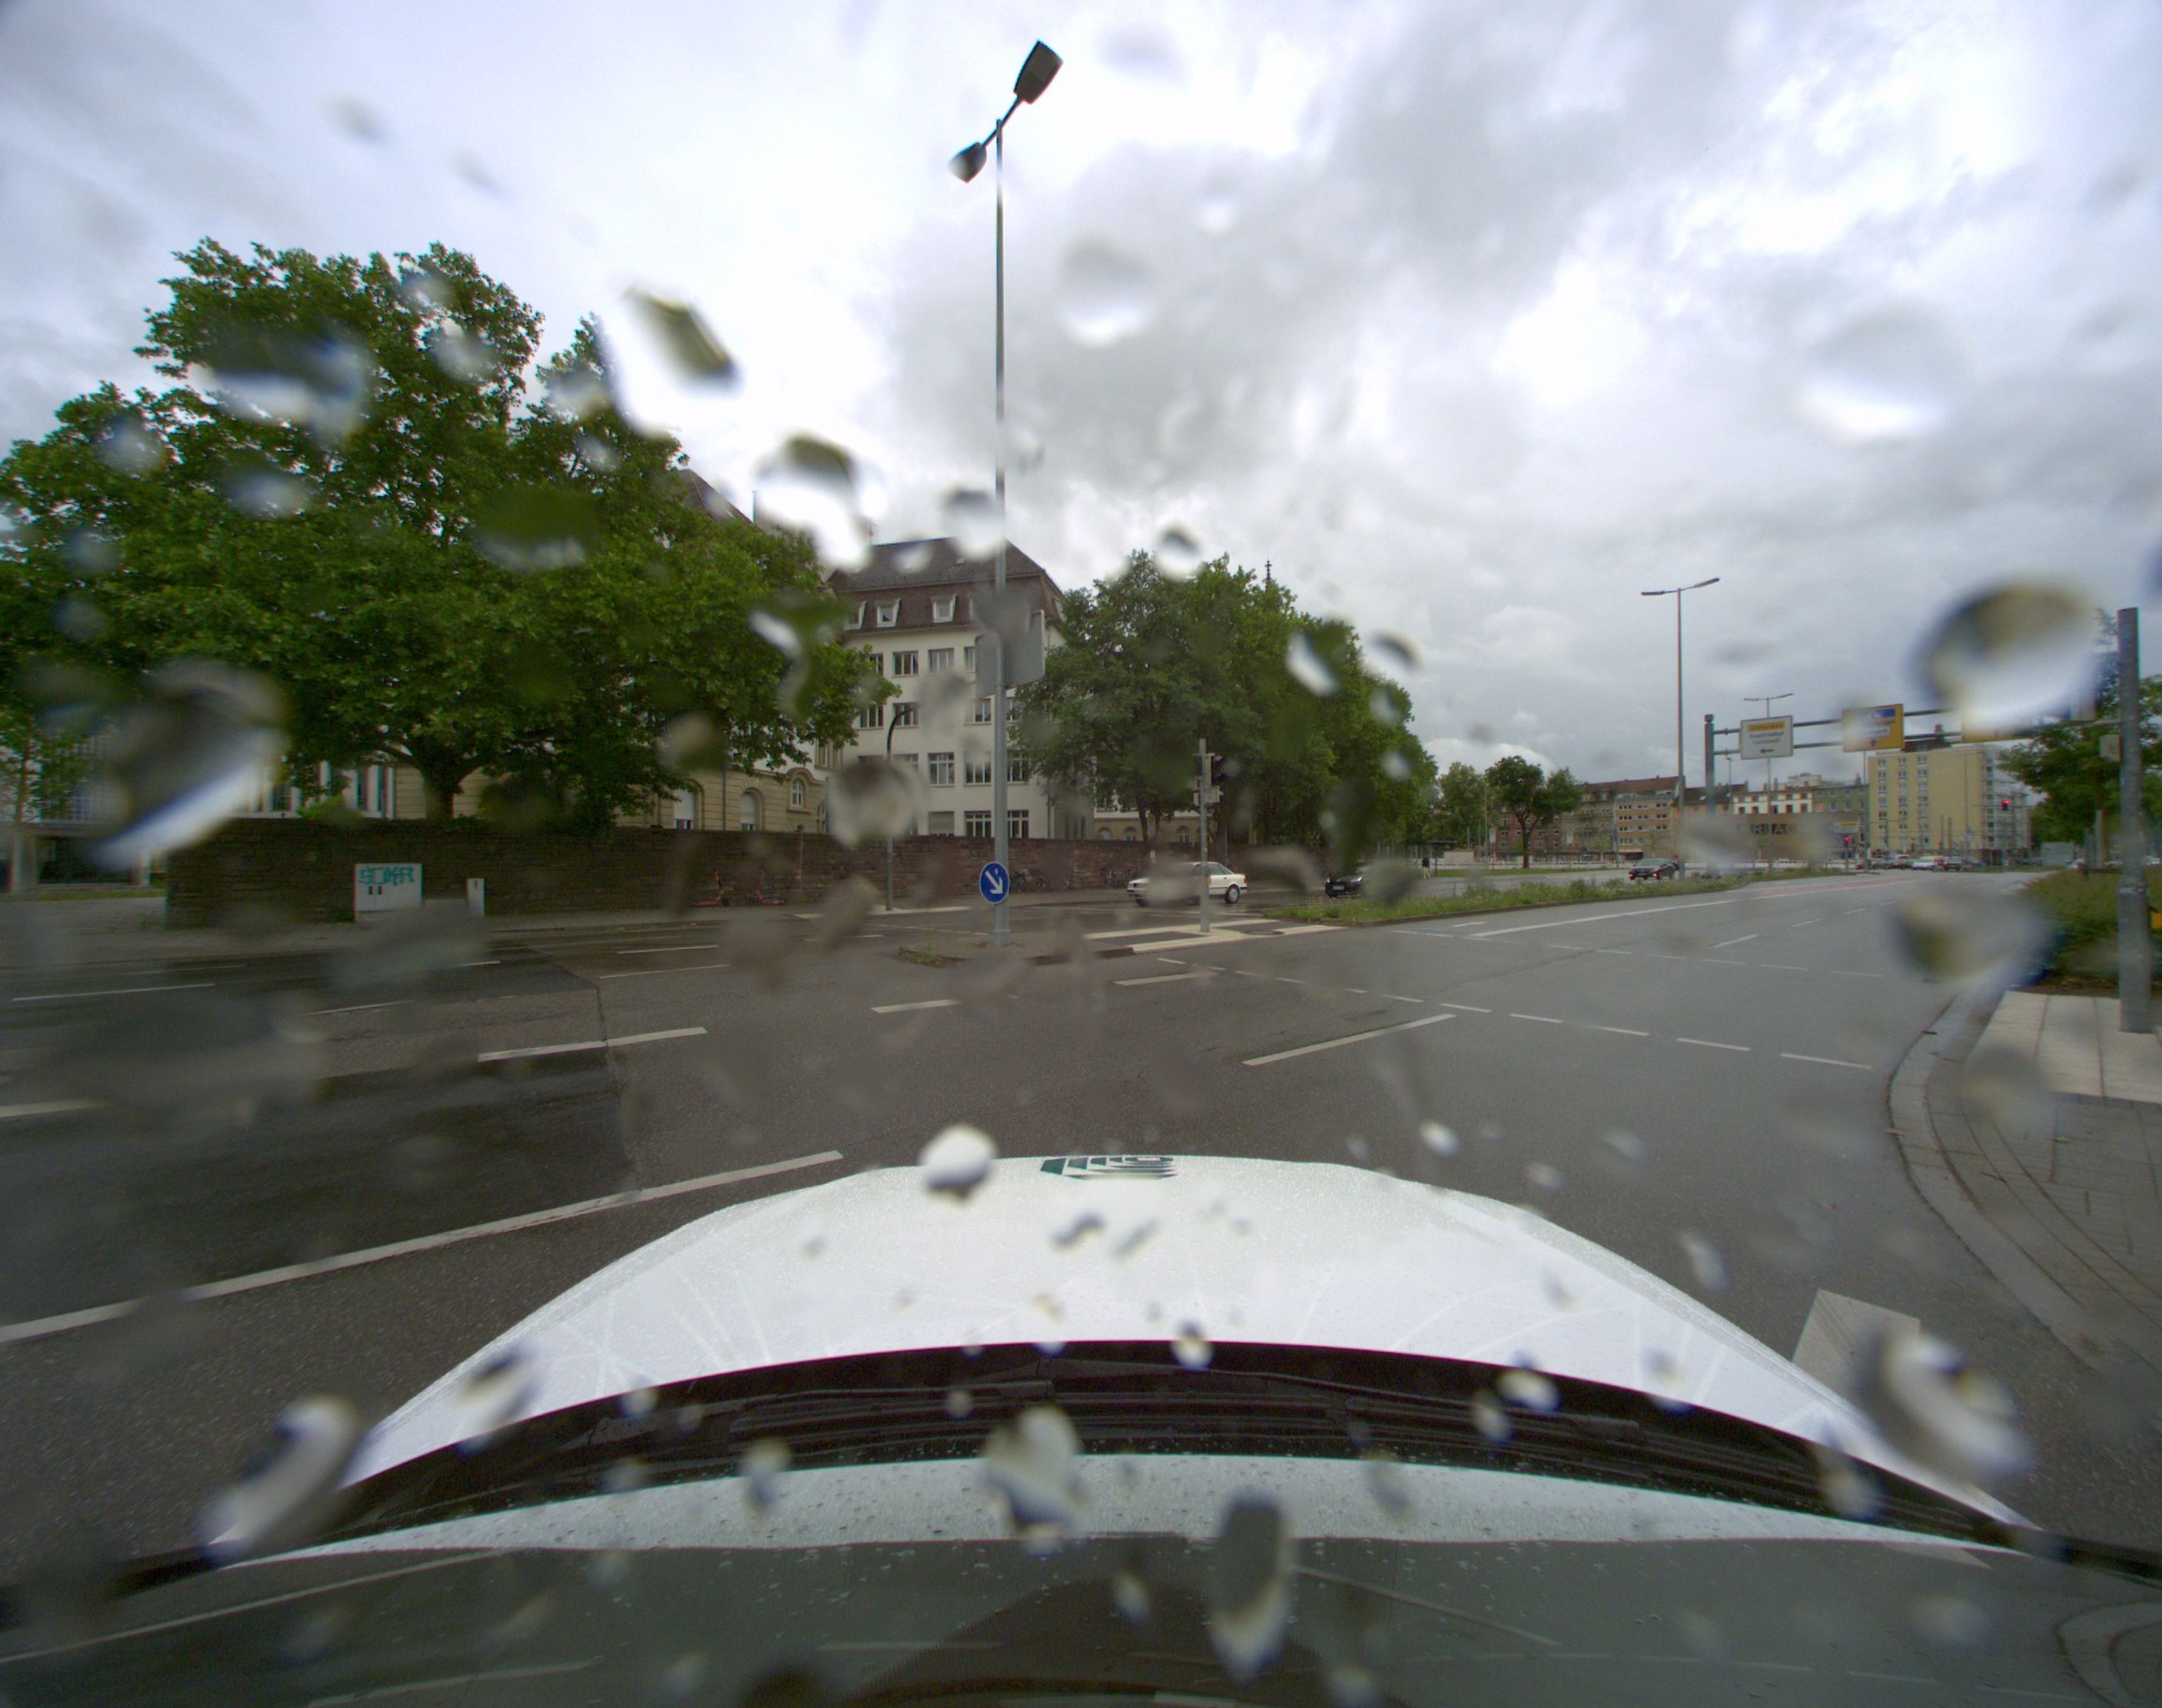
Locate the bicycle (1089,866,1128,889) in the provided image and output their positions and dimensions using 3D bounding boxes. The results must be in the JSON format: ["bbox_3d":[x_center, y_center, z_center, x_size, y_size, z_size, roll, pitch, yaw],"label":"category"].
[{"bbox_3d":[1.255,1.066,36.815,0.724,0.983,1.876,0,0,43],"label":"bicycle"}]

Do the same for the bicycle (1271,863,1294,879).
[{"bbox_3d":[12.929,1.104,52.229,0.724,0.983,1.712,0,0,39],"label":"bicycle"}]

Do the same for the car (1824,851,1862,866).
[{"bbox_3d":[156.113,0.915,166.880,2.348,2.887,5.312,0,-1,-34],"label":"car"}]

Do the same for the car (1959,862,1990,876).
[{"bbox_3d":[107.264,1.760,97.721,4.623,1.636,1.978,0,-2,-36],"label":"car"}]

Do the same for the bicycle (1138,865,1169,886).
[{"bbox_3d":[3.581,1.055,40.183,0.724,0.983,1.712,0,0,39],"label":"bicycle"}]

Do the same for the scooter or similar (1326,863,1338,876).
[{"bbox_3d":[19.720,1.199,63.923,0.566,1.047,1.371,-1,-1,34],"label":"scooter or similar"}]

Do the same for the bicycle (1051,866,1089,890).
[{"bbox_3d":[-0.460,1.047,35.448,0.724,0.983,1.712,0,0,39],"label":"bicycle"}]

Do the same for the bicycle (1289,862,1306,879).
[{"bbox_3d":[14.607,1.082,54.936,0.567,1.136,2.004,-1,-1,30],"label":"bicycle"}]

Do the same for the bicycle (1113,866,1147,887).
[{"bbox_3d":[2.332,1.050,38.389,0.724,0.983,1.712,0,0,39],"label":"bicycle"}]

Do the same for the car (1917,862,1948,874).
[{"bbox_3d":[99.224,1.627,94.877,4.172,1.404,1.667,0,-1,-32],"label":"car"}]

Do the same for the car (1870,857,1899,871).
[{"bbox_3d":[96.966,1.206,98.264,3.833,1.706,1.694,0,-1,-32],"label":"car"}]

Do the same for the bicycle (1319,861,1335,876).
[{"bbox_3d":[18.951,1.137,62.682,0.567,1.136,2.004,-1,-1,34],"label":"bicycle"}]

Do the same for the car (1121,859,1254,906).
[{"bbox_3d":[3.527,0.890,26.427,4.547,1.416,1.582,0,-2,-40],"label":"car"}]

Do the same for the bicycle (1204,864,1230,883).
[{"bbox_3d":[7.537,1.080,45.071,0.724,0.983,1.712,0,0,39],"label":"bicycle"}]

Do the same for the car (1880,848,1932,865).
[{"bbox_3d":[161.077,0.538,158.977,2.820,3.380,6.692,0,-1,-34],"label":"car"}]

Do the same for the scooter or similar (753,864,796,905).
[{"bbox_3d":[-9.455,0.929,25.130,0.387,1.197,1.149,8,5,43],"label":"scooter or similar"}]

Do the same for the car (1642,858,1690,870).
[{"bbox_3d":[66.720,1.143,92.926,1.627,1.402,4.154,0,-1,-43],"label":"car"}]

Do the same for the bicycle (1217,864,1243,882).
[{"bbox_3d":[8.456,1.082,46.077,0.724,0.983,1.712,0,0,39],"label":"bicycle"}]

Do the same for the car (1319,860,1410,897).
[{"bbox_3d":[11.560,0.967,33.101,4.087,1.416,1.610,0,-2,-40],"label":"car"}]

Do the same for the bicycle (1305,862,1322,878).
[{"bbox_3d":[16.798,1.170,58.891,0.567,1.136,2.004,-1,-1,34],"label":"bicycle"}]

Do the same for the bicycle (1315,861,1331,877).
[{"bbox_3d":[18.063,1.104,60.803,0.567,1.136,2.004,-1,-1,34],"label":"bicycle"}]

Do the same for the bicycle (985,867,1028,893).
[{"bbox_3d":[-2.974,1.042,32.659,0.724,0.983,1.712,0,0,39],"label":"bicycle"}]

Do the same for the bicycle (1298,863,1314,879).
[{"bbox_3d":[15.798,1.175,57.057,0.567,1.136,2.004,-1,-1,30],"label":"bicycle"}]

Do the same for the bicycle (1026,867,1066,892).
[{"bbox_3d":[-1.447,1.042,34.005,0.724,0.983,1.712,0,0,39],"label":"bicycle"}]

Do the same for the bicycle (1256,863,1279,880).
[{"bbox_3d":[11.607,1.079,50.551,0.724,0.983,1.712,0,0,39],"label":"bicycle"}]

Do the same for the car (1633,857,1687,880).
[{"bbox_3d":[40.520,0.998,56.946,4.725,1.540,1.794,0,-2,-38],"label":"car"}]

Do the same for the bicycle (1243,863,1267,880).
[{"bbox_3d":[10.191,1.010,47.692,0.724,0.983,1.712,0,0,39],"label":"bicycle"}]

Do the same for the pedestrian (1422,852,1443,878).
[{"bbox_3d":[23.362,0.752,54.159,0.860,1.695,1.408,-1,-1,44],"label":"pedestrian"}]

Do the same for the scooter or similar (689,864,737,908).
[{"bbox_3d":[-10.797,0.923,23.904,0.387,1.197,1.148,8,5,44],"label":"scooter or similar"}]
